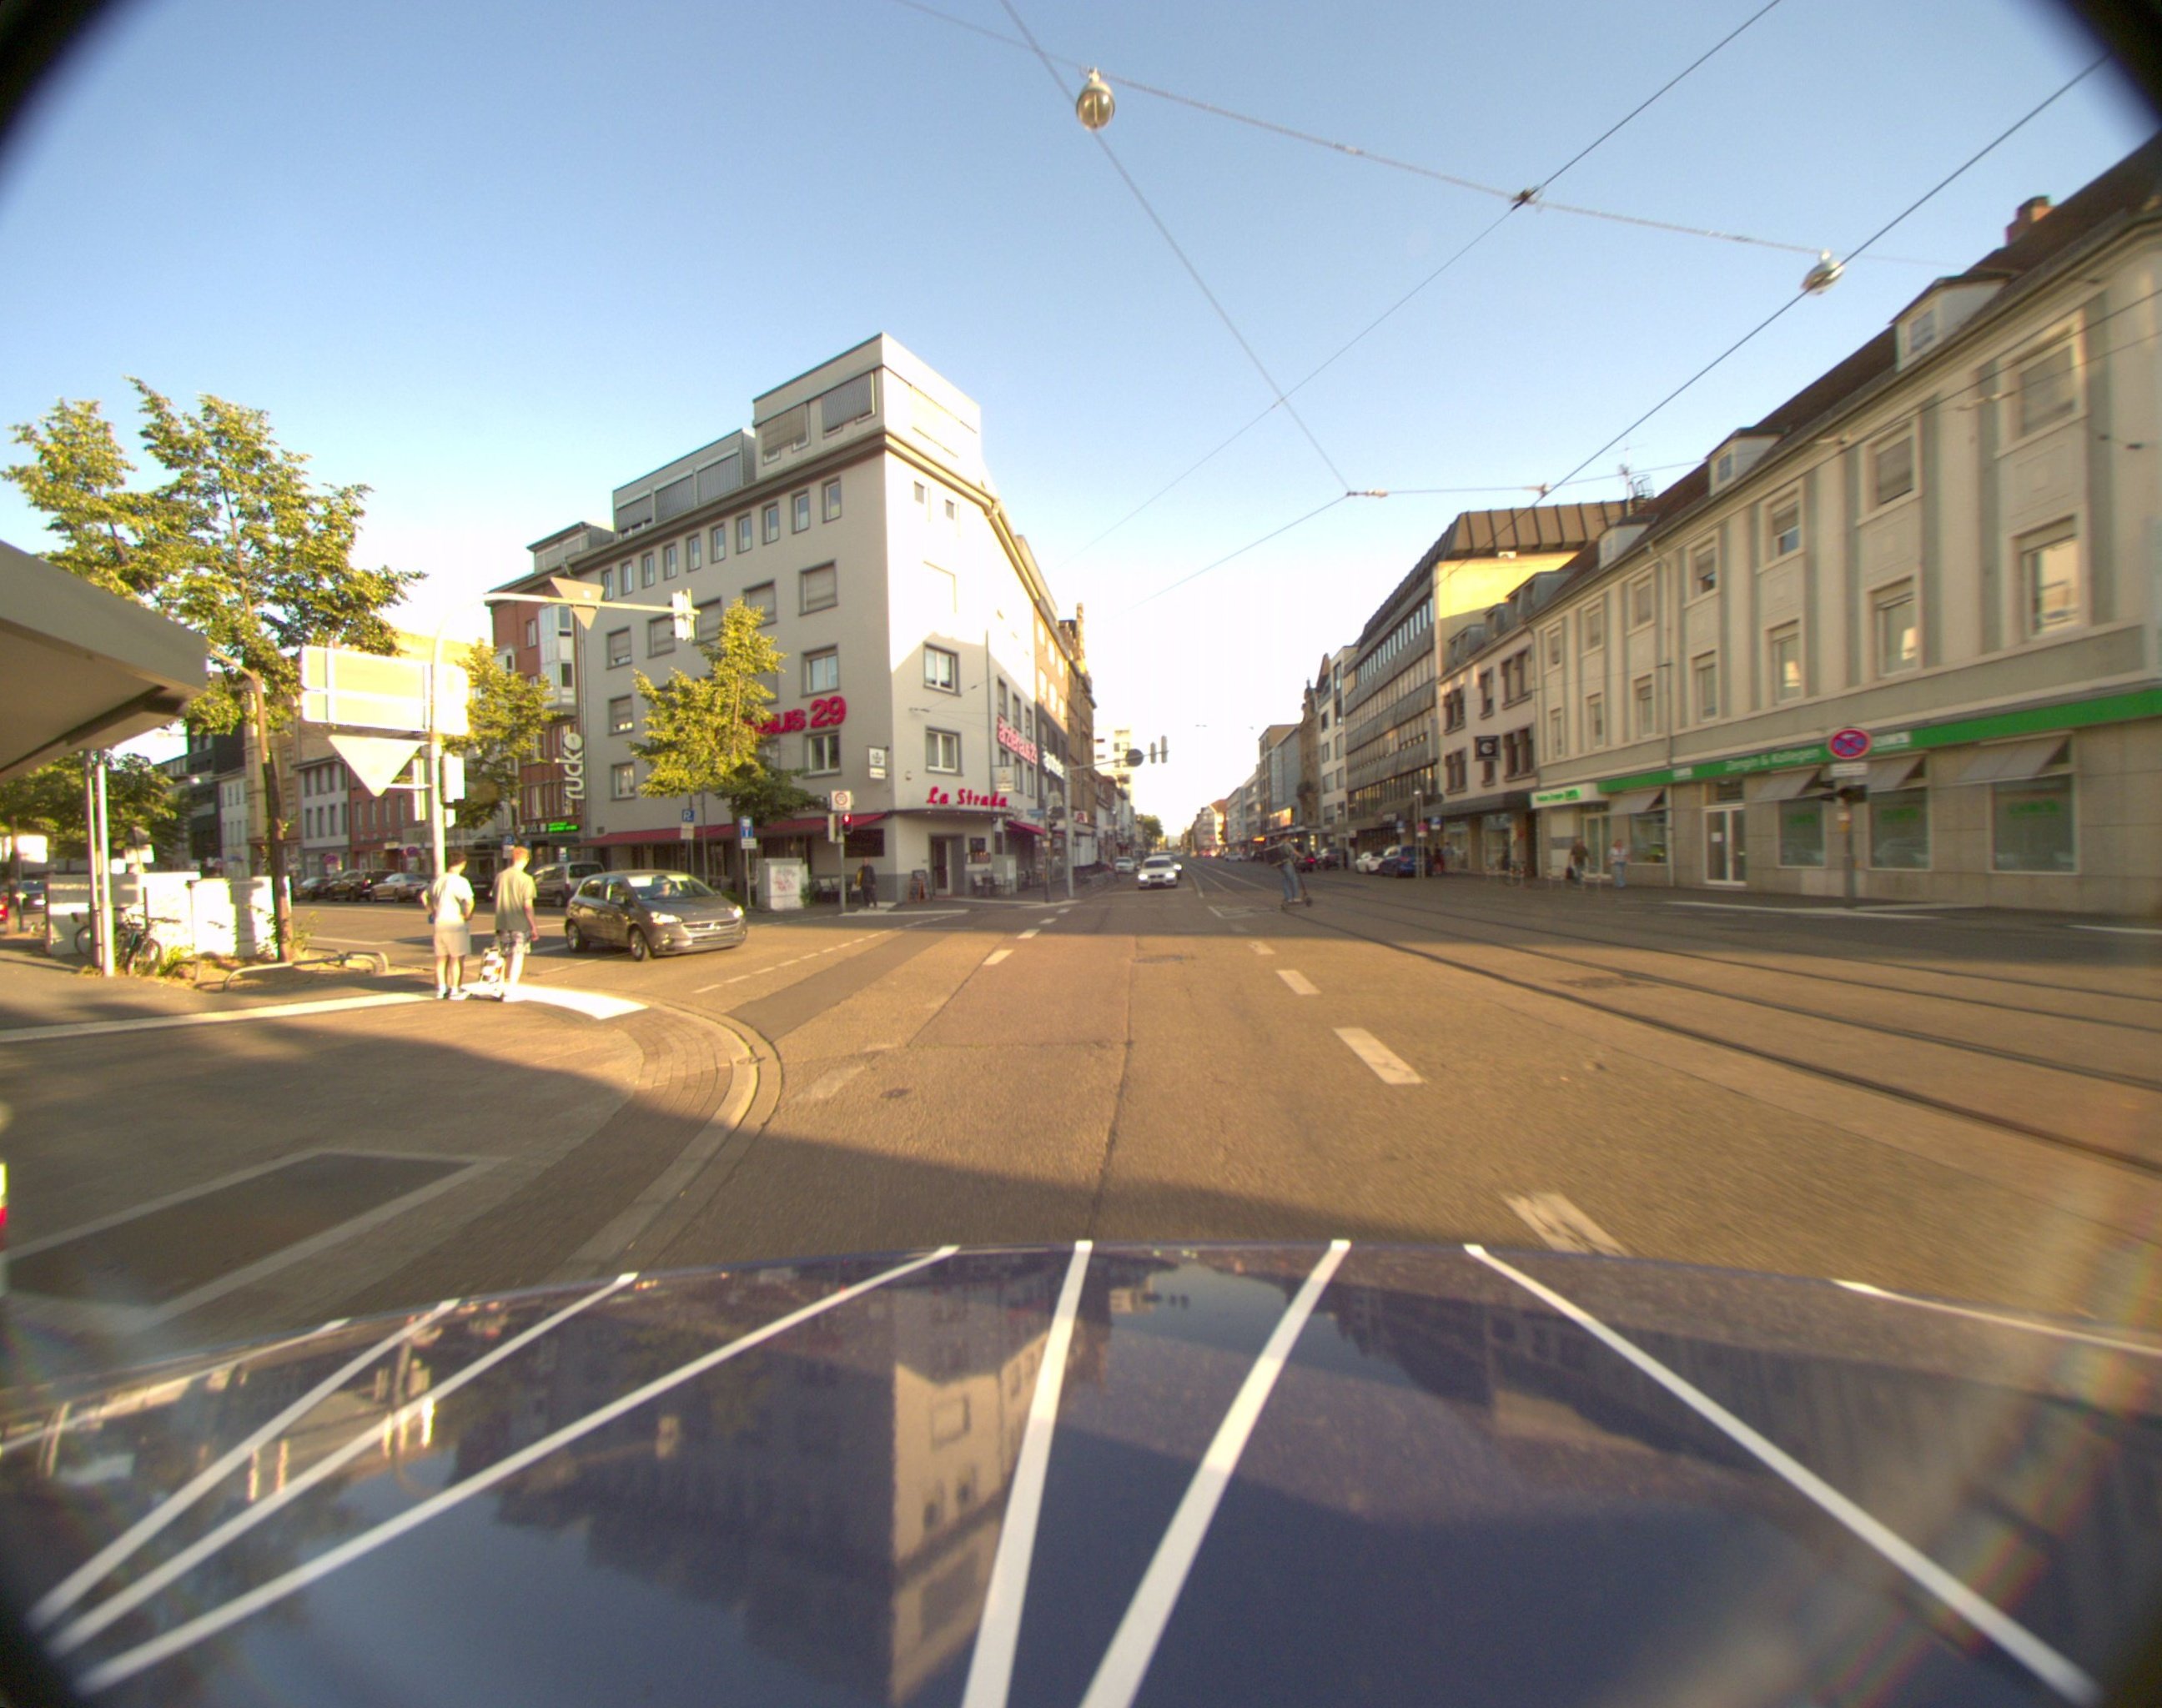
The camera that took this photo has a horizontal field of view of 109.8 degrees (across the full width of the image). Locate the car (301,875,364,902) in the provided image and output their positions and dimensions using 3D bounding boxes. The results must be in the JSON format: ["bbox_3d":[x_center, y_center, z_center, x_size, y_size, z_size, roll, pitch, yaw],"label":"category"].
[{"bbox_3d":[-44.690,2.033,45.363,3.832,1.516,1.740,-2,0,31],"label":"car"}]

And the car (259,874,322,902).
[{"bbox_3d":[-51.986,2.195,49.941,4.129,1.718,1.881,-1,1,30],"label":"car"}]

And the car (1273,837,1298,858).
[{"bbox_3d":[21.727,-0.696,80.953,1.997,2.002,4.001,-1,2,7],"label":"car"}]

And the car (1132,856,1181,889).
[{"bbox_3d":[3.613,0.832,35.805,1.913,1.350,3.749,-3,0,10],"label":"car"}]

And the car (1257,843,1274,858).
[{"bbox_3d":[25.567,-0.564,105.383,1.832,1.907,4.000,-2,2,6],"label":"car"}]

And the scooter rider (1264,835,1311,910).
[{"bbox_3d":[5.158,0.438,19.017,0.789,1.797,0.812,-3,2,-20],"label":"scooter rider"}]

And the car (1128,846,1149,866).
[{"bbox_3d":[6.320,0.216,82.831,2.040,2.105,4.388,-2,0,6],"label":"car"}]

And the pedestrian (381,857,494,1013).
[{"bbox_3d":[-7.608,0.931,9.010,0.748,1.763,0.640,-1,1,10],"label":"pedestrian"}]

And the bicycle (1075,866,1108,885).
[{"bbox_3d":[0.574,1.149,40.403,1.761,0.944,0.443,0,3,1],"label":"bicycle"}]

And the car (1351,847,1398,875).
[{"bbox_3d":[18.054,0.394,46.944,1.700,1.614,4.002,-2,0,6],"label":"car"}]

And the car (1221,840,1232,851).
[{"bbox_3d":[30.965,-1.900,161.896,1.974,2.181,4.134,-2,2,7],"label":"car"}]

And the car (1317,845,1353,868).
[{"bbox_3d":[19.546,0.136,58.584,1.818,1.548,4.001,-2,2,7],"label":"car"}]

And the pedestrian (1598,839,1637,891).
[{"bbox_3d":[17.353,0.364,24.577,0.826,1.631,0.815,-3,0,23],"label":"pedestrian"}]

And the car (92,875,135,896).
[{"bbox_3d":[-85.386,2.753,67.045,3.862,1.762,1.770,-1,0,31],"label":"car"}]

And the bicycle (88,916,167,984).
[{"bbox_3d":[-15.263,1.504,12.156,1.666,1.004,0.405,-2,-1,25],"label":"bicycle"}]

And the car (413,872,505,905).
[{"bbox_3d":[-28.976,1.565,35.376,4.406,1.385,1.808,-1,1,29],"label":"car"}]

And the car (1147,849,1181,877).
[{"bbox_3d":[5.367,0.533,48.563,1.997,1.630,4.002,-1,0,8],"label":"car"}]

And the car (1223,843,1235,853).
[{"bbox_3d":[30.405,-1.233,155.749,1.973,2.002,4.000,-2,2,5],"label":"car"}]

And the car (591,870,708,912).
[{"bbox_3d":[-15.610,1.289,27.434,4.300,1.345,1.657,-1,0,30],"label":"car"}]

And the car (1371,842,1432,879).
[{"bbox_3d":[17.219,0.325,41.025,1.914,1.785,4.130,-3,1,6],"label":"car"}]

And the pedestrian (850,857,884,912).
[{"bbox_3d":[-6.562,0.921,23.356,0.799,1.646,0.587,-1,1,4],"label":"pedestrian"}]

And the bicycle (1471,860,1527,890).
[{"bbox_3d":[15.582,0.783,28.357,1.739,1.052,0.499,-2,-2,15],"label":"bicycle"}]

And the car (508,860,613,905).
[{"bbox_3d":[-20.919,1.113,30.531,3.989,1.655,1.723,-1,3,27],"label":"car"}]

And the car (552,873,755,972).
[{"bbox_3d":[-7.600,1.094,13.387,3.832,1.445,1.591,-1,1,36],"label":"car"}]

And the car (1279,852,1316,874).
[{"bbox_3d":[15.437,0.611,54.347,1.894,1.471,4.546,0,0,8],"label":"car"}]

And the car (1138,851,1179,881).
[{"bbox_3d":[4.518,0.680,43.728,1.997,1.471,4.001,-1,2,10],"label":"car"}]

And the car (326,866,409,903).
[{"bbox_3d":[-39.551,1.681,42.082,4.934,1.873,1.978,-2,0,30],"label":"car"}]

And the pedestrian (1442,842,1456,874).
[{"bbox_3d":[20.227,0.210,41.810,0.515,1.725,0.601,-1,3,7],"label":"pedestrian"}]

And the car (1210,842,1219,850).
[{"bbox_3d":[36.536,-2.259,208.139,1.998,2.002,4.000,-2,2,5],"label":"car"}]

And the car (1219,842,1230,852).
[{"bbox_3d":[31.886,-1.522,169.207,1.959,2.002,4.000,-2,2,5],"label":"car"}]

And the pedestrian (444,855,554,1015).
[{"bbox_3d":[-6.706,0.908,8.779,0.749,1.763,0.586,-1,1,0],"label":"pedestrian"}]

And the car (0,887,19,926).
[{"bbox_3d":[-42.734,2.072,29.295,3.989,1.420,1.657,-2,2,30],"label":"car"}]

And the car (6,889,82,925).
[{"bbox_3d":[-51.530,2.574,37.751,3.721,1.534,1.695,-1,3,29],"label":"car"}]

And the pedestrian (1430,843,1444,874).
[{"bbox_3d":[19.574,0.257,41.796,0.509,1.675,0.584,-2,2,6],"label":"pedestrian"}]

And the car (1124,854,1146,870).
[{"bbox_3d":[5.554,0.780,77.645,2.040,1.550,4.388,-2,0,6],"label":"car"}]

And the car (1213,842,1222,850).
[{"bbox_3d":[36.427,-2.135,202.467,1.998,2.002,4.000,-2,2,5],"label":"car"}]

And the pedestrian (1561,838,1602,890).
[{"bbox_3d":[17.193,0.337,26.124,0.827,1.718,0.814,-3,1,7],"label":"pedestrian"}]

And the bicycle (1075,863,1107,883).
[{"bbox_3d":[0.536,1.057,41.804,1.761,1.065,0.443,0,3,1],"label":"bicycle"}]

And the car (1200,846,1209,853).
[{"bbox_3d":[34.291,-1.267,210.540,1.998,2.002,4.000,-2,2,5],"label":"car"}]

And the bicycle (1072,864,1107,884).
[{"bbox_3d":[0.436,1.025,38.964,1.827,1.025,0.444,0,0,1],"label":"bicycle"}]

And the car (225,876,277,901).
[{"bbox_3d":[-56.757,2.346,51.978,3.507,1.581,1.690,-1,1,31],"label":"car"}]

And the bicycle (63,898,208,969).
[{"bbox_3d":[-18.418,1.519,14.851,0.493,1.187,1.664,-2,1,18],"label":"bicycle"}]

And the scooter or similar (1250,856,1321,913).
[{"bbox_3d":[5.115,0.755,19.017,1.670,1.343,0.545,-2,1,-20],"label":"scooter or similar"}]

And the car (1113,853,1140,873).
[{"bbox_3d":[3.917,0.760,64.915,2.040,1.550,4.388,-2,0,6],"label":"car"}]

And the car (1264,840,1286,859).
[{"bbox_3d":[22.382,-0.575,87.673,1.997,2.048,4.001,-1,2,8],"label":"car"}]

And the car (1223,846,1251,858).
[{"bbox_3d":[24.236,-0.271,118.077,1.810,1.739,3.826,-4,3,-40],"label":"car"}]

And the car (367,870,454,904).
[{"bbox_3d":[-33.820,1.632,38.284,4.931,1.590,1.901,-2,-1,32],"label":"car"}]
